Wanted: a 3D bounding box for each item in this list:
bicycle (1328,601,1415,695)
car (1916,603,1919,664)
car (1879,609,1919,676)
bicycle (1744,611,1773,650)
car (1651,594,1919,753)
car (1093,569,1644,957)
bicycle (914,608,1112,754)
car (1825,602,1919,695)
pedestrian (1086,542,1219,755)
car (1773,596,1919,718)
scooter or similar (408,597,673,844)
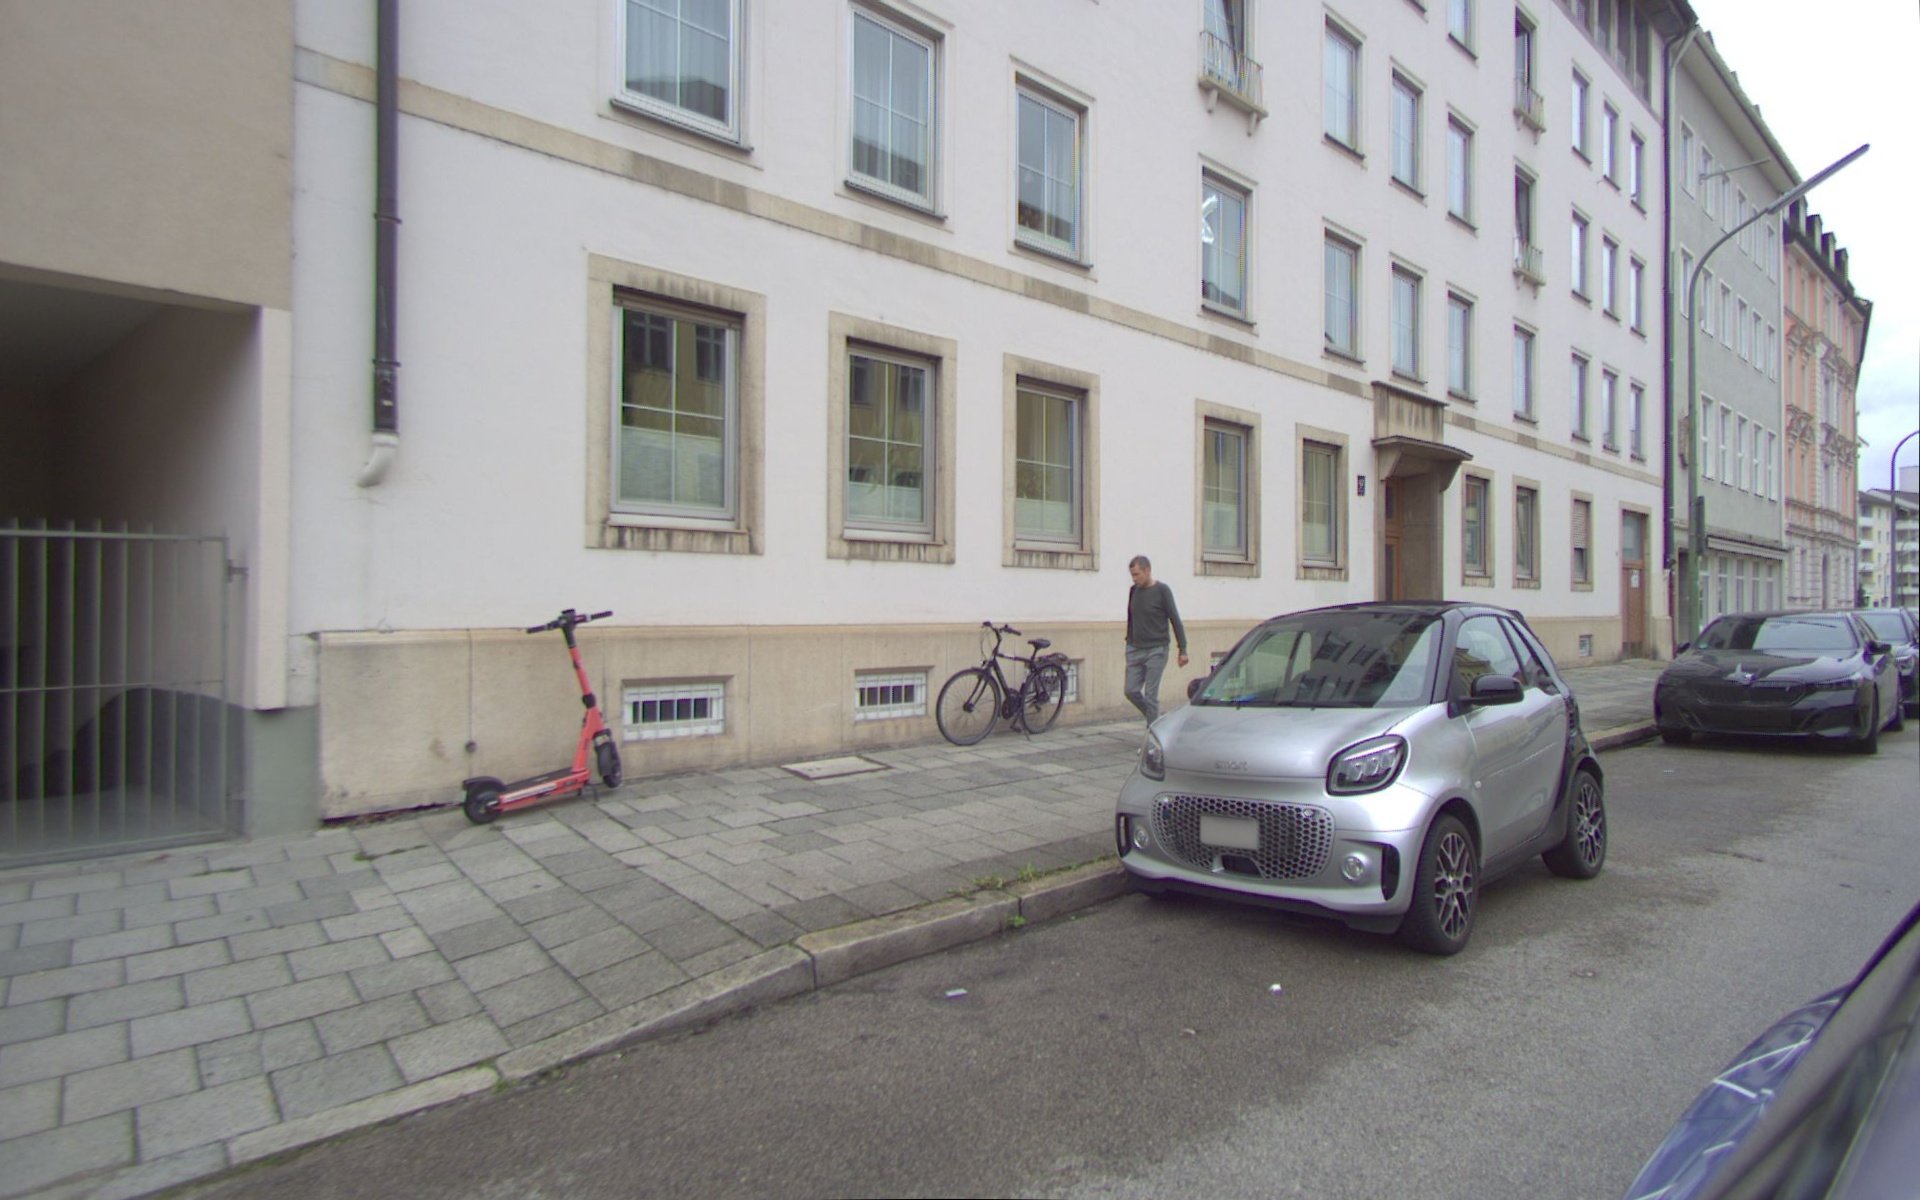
[{"bbox_3d":[5.848,0.639,14.316,0.512,1.238,1.958,0,-1,41],"label":"bicycle"},{"bbox_3d":[27.336,0.894,27.568,4.290,1.613,1.707,1,-2,-45],"label":"car"},{"bbox_3d":[22.809,0.944,23.494,4.451,1.447,1.675,0,-2,-41],"label":"car"},{"bbox_3d":[24.551,0.934,31.114,1.916,1.172,0.384,1,-1,-42],"label":"bicycle"},{"bbox_3d":[10.056,0.742,12.050,5.228,1.504,1.804,0,-3,-42],"label":"car"},{"bbox_3d":[2.307,0.673,5.533,2.831,1.515,1.652,0,-3,-41],"label":"car"},{"bbox_3d":[0.544,0.698,9.499,2.066,1.233,0.530,0,-1,-41],"label":"bicycle"},{"bbox_3d":[17.572,0.815,18.562,4.625,1.542,1.843,0,-1,-40],"label":"car"},{"bbox_3d":[1.735,0.392,9.127,0.889,1.784,0.724,-1,4,-40],"label":"pedestrian"},{"bbox_3d":[13.971,0.787,15.415,4.553,1.610,1.647,0,-3,-41],"label":"car"},{"bbox_3d":[-2.675,0.695,6.616,0.438,1.375,1.569,-1,2,37],"label":"scooter or similar"}]
